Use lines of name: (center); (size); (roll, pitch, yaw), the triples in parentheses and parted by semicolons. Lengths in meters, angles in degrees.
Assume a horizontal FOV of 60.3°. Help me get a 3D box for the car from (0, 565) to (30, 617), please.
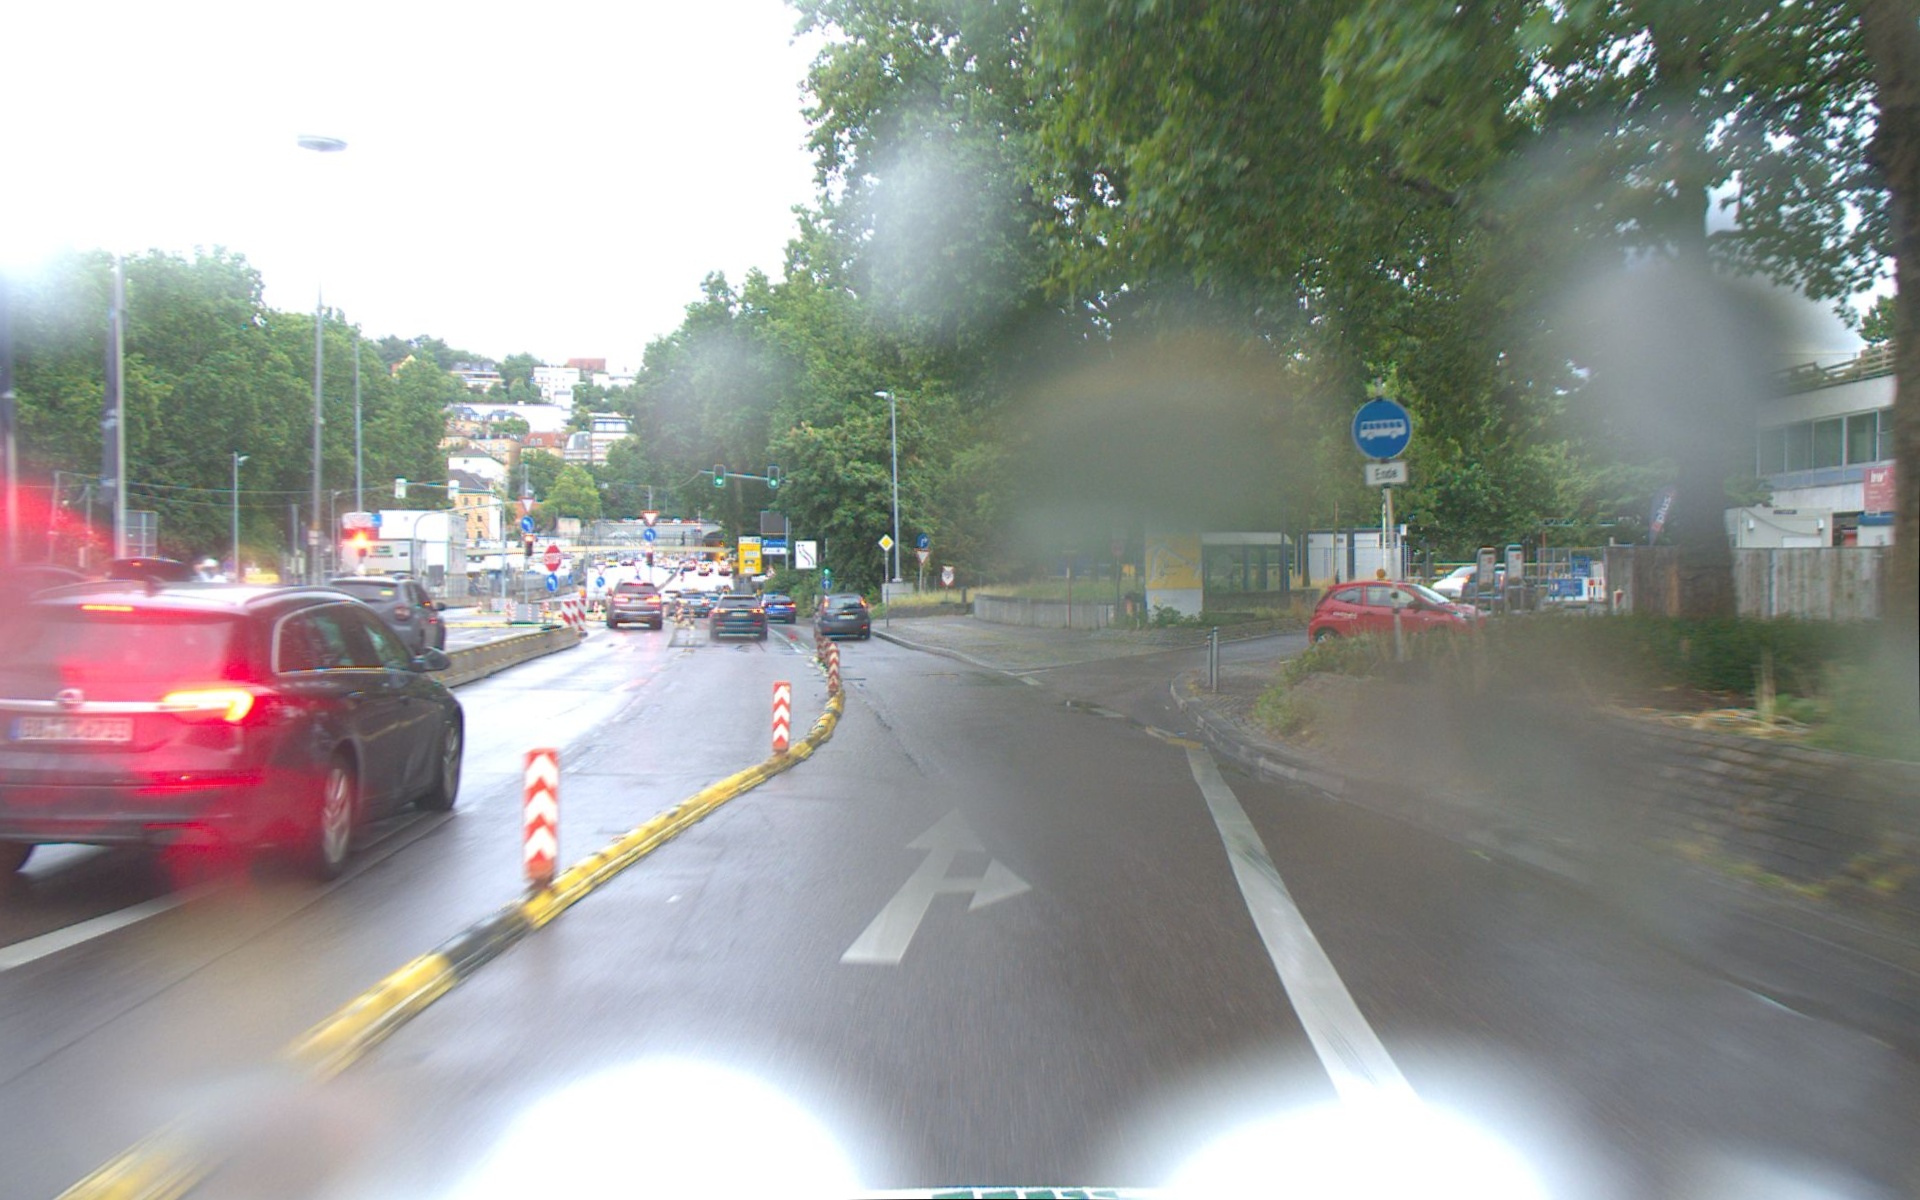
car: (-52.159, -0.467, 87.928); (2.336, 2.749, 5.786); (-1, 0, -3)

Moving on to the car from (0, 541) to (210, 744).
car: (-8.293, 0.307, 13.825); (1.933, 1.537, 5.002); (1, 0, -3)

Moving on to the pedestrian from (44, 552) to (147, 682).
pedestrian: (-11.677, 0.218, 22.341); (0.821, 1.711, 1.022); (1, 1, 42)

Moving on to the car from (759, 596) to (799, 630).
car: (-8.686, 0.612, 79.538); (1.641, 1.609, 3.238); (1, 0, -3)

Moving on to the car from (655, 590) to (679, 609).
car: (-24.435, -0.049, 137.729); (1.782, 1.602, 3.987); (1, 0, -13)

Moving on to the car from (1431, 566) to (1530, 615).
car: (20.126, -0.358, 63.802); (1.917, 1.812, 4.425); (1, 0, 43)

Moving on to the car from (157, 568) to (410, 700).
car: (-9.242, 0.408, 23.066); (1.955, 1.595, 4.869); (-1, 0, -6)

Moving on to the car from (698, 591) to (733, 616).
car: (-16.350, 0.217, 110.551); (1.609, 1.653, 3.775); (1, 0, -19)

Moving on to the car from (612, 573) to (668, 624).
car: (-12.240, -0.066, 63.112); (1.959, 1.859, 3.988); (1, 0, -12)

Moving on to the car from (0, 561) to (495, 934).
car: (-3.999, 0.591, 9.245); (1.841, 1.534, 4.846); (0, 0, -5)

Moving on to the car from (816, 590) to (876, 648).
car: (-3.657, 0.580, 53.033); (1.815, 1.747, 3.996); (1, 0, -4)

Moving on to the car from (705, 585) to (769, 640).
car: (-7.244, 0.374, 53.961); (1.794, 1.715, 4.131); (0, 0, -4)

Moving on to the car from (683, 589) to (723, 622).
car: (-14.182, 0.280, 91.469); (1.866, 1.747, 3.996); (1, 0, -4)

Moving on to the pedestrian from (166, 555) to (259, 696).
pedestrian: (-11.140, 0.360, 24.670); (1.005, 2.049, 0.835); (0, 0, 29)

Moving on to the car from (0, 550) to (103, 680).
car: (-13.228, 0.169, 22.249); (1.682, 1.658, 4.049); (1, 0, -7)

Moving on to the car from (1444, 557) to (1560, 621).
car: (18.149, -0.342, 55.244); (2.095, 2.049, 4.623); (1, 0, 41)

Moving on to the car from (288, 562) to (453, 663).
car: (-9.997, 0.187, 28.374); (1.957, 1.556, 4.142); (-1, 0, -10)

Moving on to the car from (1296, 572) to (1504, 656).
car: (8.591, 0.256, 32.379); (3.547, 1.532, 1.727); (1, 0, 36)
